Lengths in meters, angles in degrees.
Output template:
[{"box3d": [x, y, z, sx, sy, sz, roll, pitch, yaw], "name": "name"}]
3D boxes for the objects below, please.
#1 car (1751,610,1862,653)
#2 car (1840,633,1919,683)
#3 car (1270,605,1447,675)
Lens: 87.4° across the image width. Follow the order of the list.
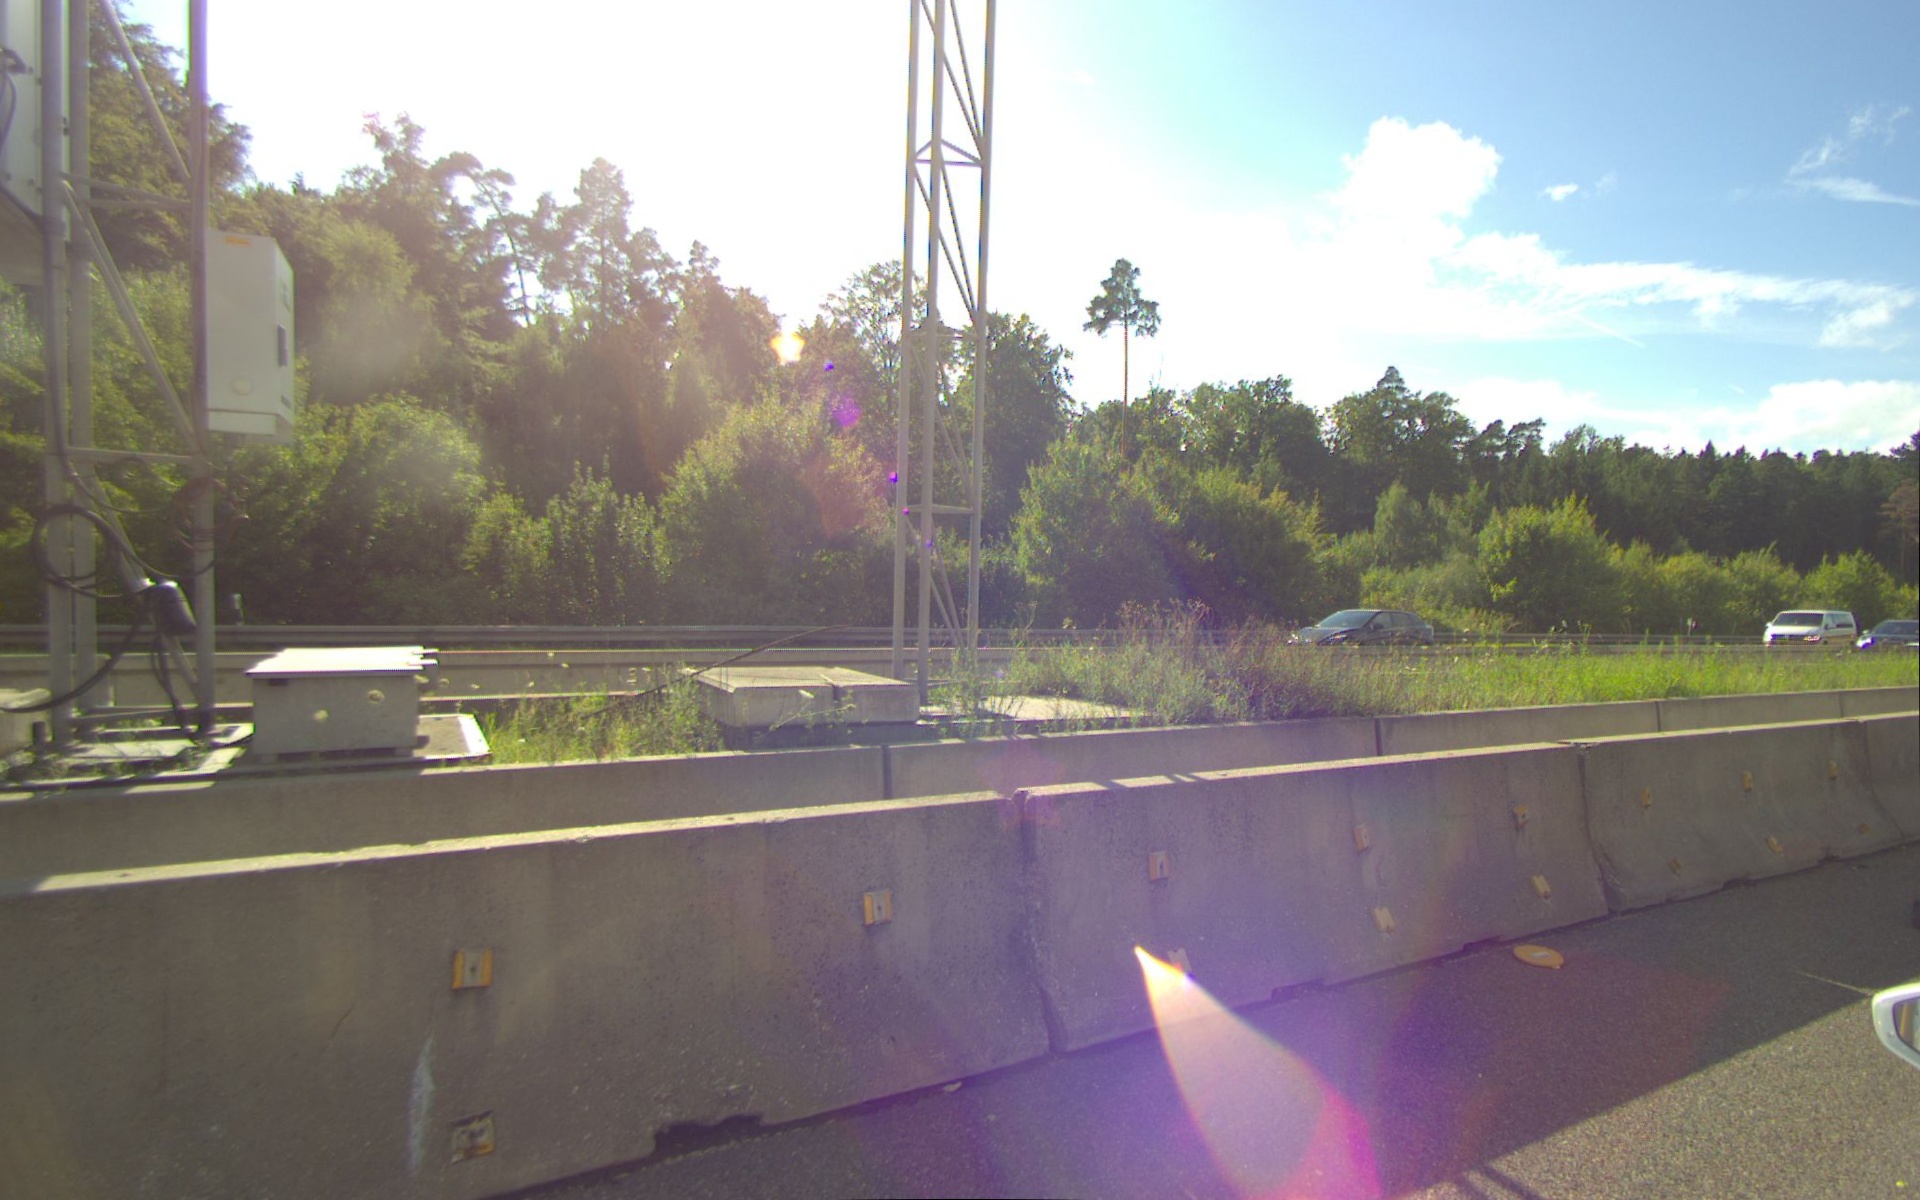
[{"box3d": [34.396, 1.285, 40.788, 4.890, 1.624, 1.958, 1, 0, -31], "name": "car"}, {"box3d": [33.811, 2.047, 36.027, 4.890, 1.624, 1.958, 1, 0, -31], "name": "car"}, {"box3d": [10.295, 1.007, 25.853, 4.623, 1.624, 1.769, 1, 0, -31], "name": "car"}]
